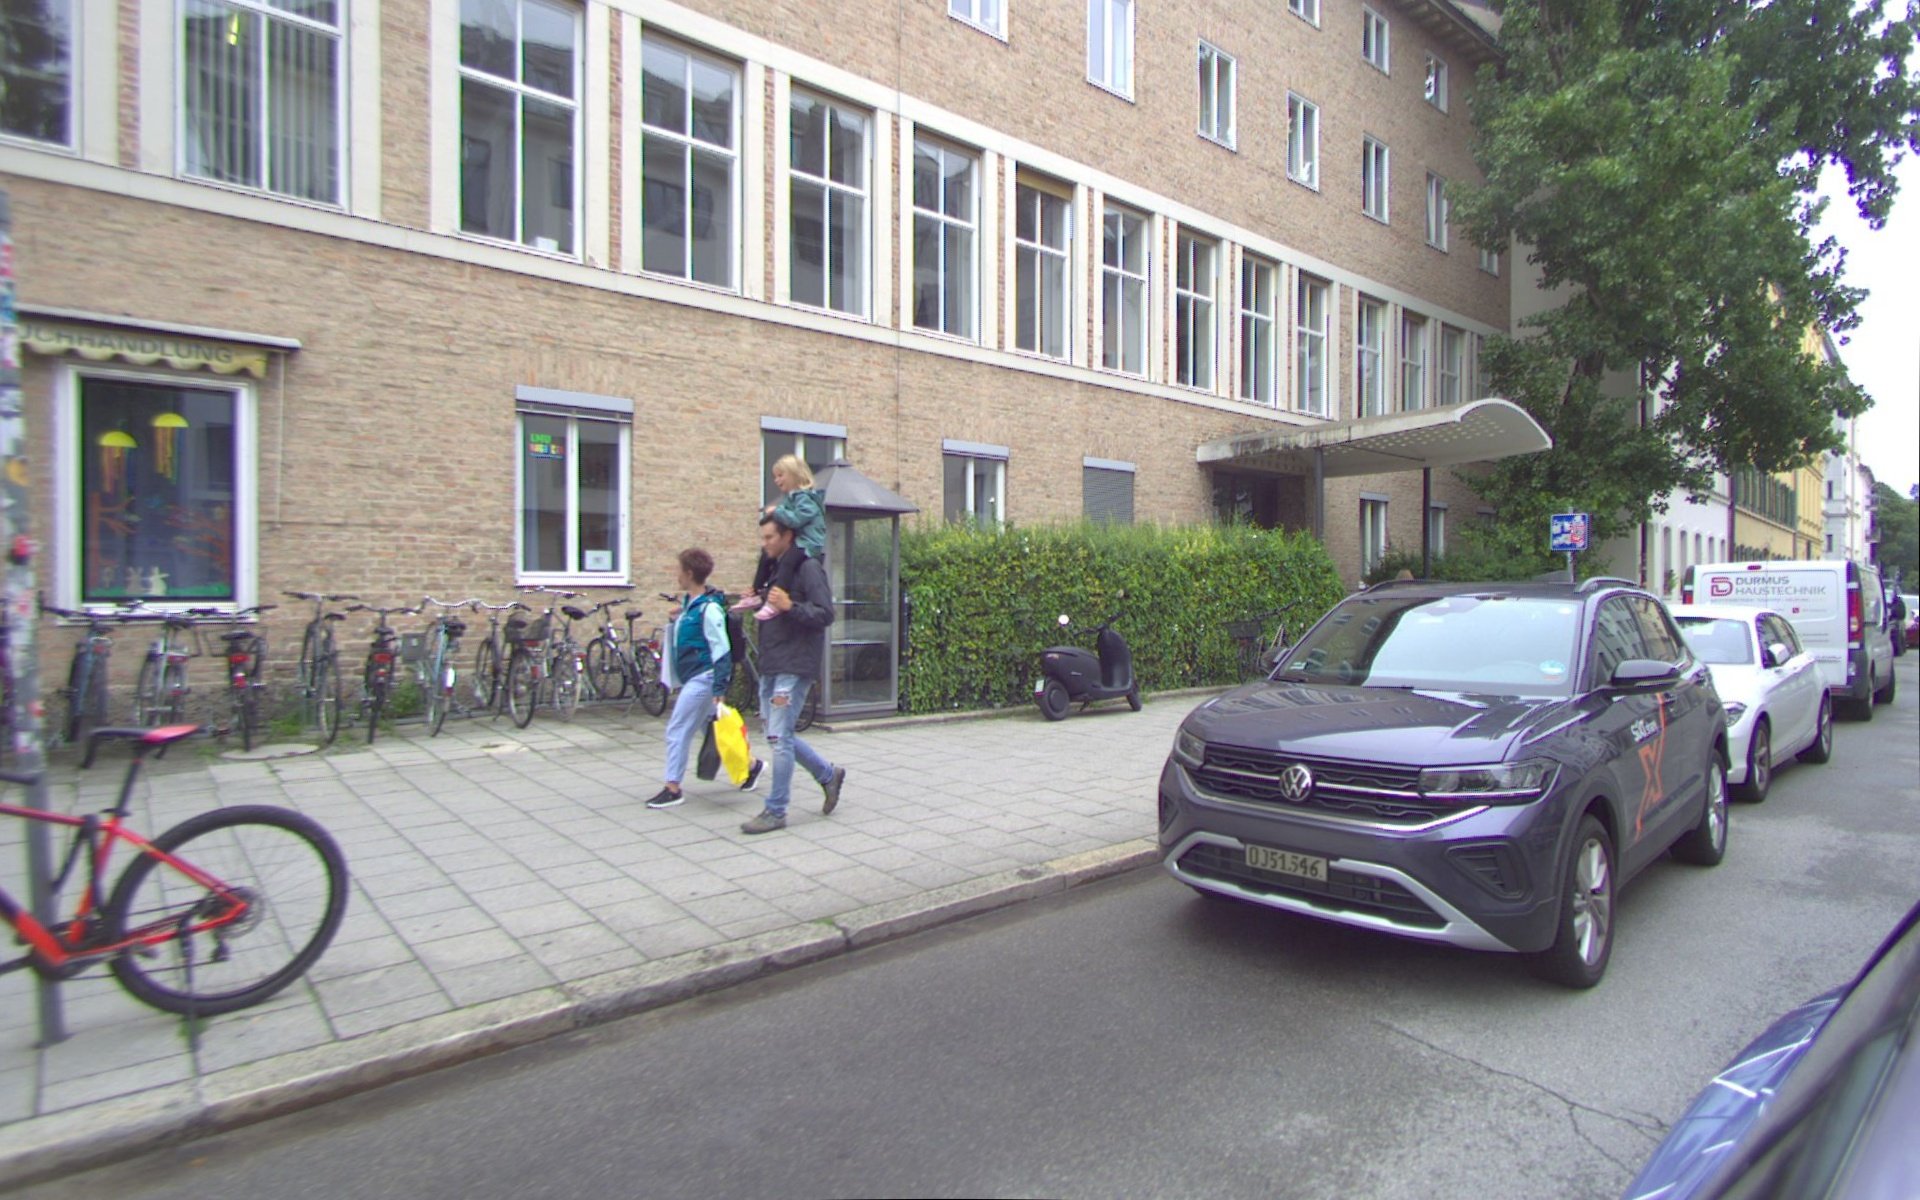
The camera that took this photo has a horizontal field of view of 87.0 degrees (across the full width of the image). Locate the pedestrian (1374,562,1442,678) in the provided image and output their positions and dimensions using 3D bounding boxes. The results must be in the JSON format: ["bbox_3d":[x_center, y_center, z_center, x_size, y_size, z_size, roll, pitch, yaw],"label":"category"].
[{"bbox_3d":[6.607,0.289,14.919,0.861,1.653,0.589,1,-1,-40],"label":"pedestrian"}]

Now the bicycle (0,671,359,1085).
[{"bbox_3d":[-2.717,0.807,2.978,0.347,1.054,1.612,3,3,38],"label":"bicycle"}]

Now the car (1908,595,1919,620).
[{"bbox_3d":[59.404,0.463,62.120,1.717,1.529,3.874,1,0,44],"label":"car"}]

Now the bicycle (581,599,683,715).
[{"bbox_3d":[-3.363,0.537,10.302,0.342,1.055,1.632,0,1,-42],"label":"bicycle"}]

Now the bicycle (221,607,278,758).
[{"bbox_3d":[-5.781,0.615,8.218,0.342,1.055,1.635,0,1,-36],"label":"bicycle"}]

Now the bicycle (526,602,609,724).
[{"bbox_3d":[-3.868,0.573,9.916,0.342,1.055,1.635,0,1,-36],"label":"bicycle"}]

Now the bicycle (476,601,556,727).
[{"bbox_3d":[-4.238,0.560,9.598,0.342,1.055,1.635,0,1,-36],"label":"bicycle"}]

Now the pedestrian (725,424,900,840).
[{"bbox_3d":[-0.886,0.159,5.949,0.779,2.224,0.815,0,2,-26],"label":"pedestrian"}]

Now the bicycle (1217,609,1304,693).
[{"bbox_3d":[4.091,0.666,13.715,1.462,1.067,0.422,0,-1,-42],"label":"bicycle"}]

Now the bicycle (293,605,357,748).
[{"bbox_3d":[-5.427,0.599,8.619,0.342,1.055,1.635,0,1,-36],"label":"bicycle"}]

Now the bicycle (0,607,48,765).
[{"bbox_3d":[-7.165,0.609,7.655,0.342,1.055,1.432,0,1,-40],"label":"bicycle"}]

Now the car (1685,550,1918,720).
[{"bbox_3d":[11.672,0.389,13.903,4.792,1.948,1.884,0,0,-43],"label":"car"}]

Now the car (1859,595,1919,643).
[{"bbox_3d":[30.116,0.558,32.504,1.713,1.442,4.387,0,1,44],"label":"car"}]

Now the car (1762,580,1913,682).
[{"bbox_3d":[15.784,0.481,18.126,1.808,1.620,4.147,0,0,44],"label":"car"}]

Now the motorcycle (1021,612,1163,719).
[{"bbox_3d":[1.488,0.679,11.166,1.892,1.067,0.488,0,-1,-44],"label":"motorcycle"}]

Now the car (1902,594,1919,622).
[{"bbox_3d":[55.405,0.472,58.129,1.718,1.529,4.396,1,0,45],"label":"car"}]

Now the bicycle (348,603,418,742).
[{"bbox_3d":[-5.080,0.585,8.872,0.342,1.055,1.635,0,1,-36],"label":"bicycle"}]

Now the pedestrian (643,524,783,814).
[{"bbox_3d":[-1.607,0.390,6.497,0.736,1.713,0.863,1,2,-21],"label":"pedestrian"}]

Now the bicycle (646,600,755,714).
[{"bbox_3d":[-2.727,0.554,10.523,0.342,1.055,1.631,0,1,-43],"label":"bicycle"}]

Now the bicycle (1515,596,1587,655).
[{"bbox_3d":[11.512,0.467,19.669,0.670,1.087,2.188,1,1,45],"label":"bicycle"}]

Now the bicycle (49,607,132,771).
[{"bbox_3d":[-6.525,0.611,7.628,0.342,1.055,1.635,0,1,-36],"label":"bicycle"}]

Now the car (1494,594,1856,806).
[{"bbox_3d":[6.382,0.671,8.847,4.128,1.435,1.676,0,0,-41],"label":"car"}]

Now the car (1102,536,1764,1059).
[{"bbox_3d":[2.623,0.598,5.122,3.890,1.614,1.748,0,0,-44],"label":"car"}]

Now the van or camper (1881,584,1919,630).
[{"bbox_3d":[44.089,0.302,46.860,1.994,2.039,5.149,1,0,44],"label":"van or camper"}]

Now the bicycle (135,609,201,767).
[{"bbox_3d":[-6.177,0.633,7.923,0.342,1.055,1.635,0,1,-36],"label":"bicycle"}]

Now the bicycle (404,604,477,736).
[{"bbox_3d":[-4.770,0.589,9.251,0.342,1.055,1.635,0,1,-36],"label":"bicycle"}]

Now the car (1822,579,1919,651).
[{"bbox_3d":[24.865,0.389,27.438,4.132,1.799,1.847,-1,-1,-44],"label":"car"}]
